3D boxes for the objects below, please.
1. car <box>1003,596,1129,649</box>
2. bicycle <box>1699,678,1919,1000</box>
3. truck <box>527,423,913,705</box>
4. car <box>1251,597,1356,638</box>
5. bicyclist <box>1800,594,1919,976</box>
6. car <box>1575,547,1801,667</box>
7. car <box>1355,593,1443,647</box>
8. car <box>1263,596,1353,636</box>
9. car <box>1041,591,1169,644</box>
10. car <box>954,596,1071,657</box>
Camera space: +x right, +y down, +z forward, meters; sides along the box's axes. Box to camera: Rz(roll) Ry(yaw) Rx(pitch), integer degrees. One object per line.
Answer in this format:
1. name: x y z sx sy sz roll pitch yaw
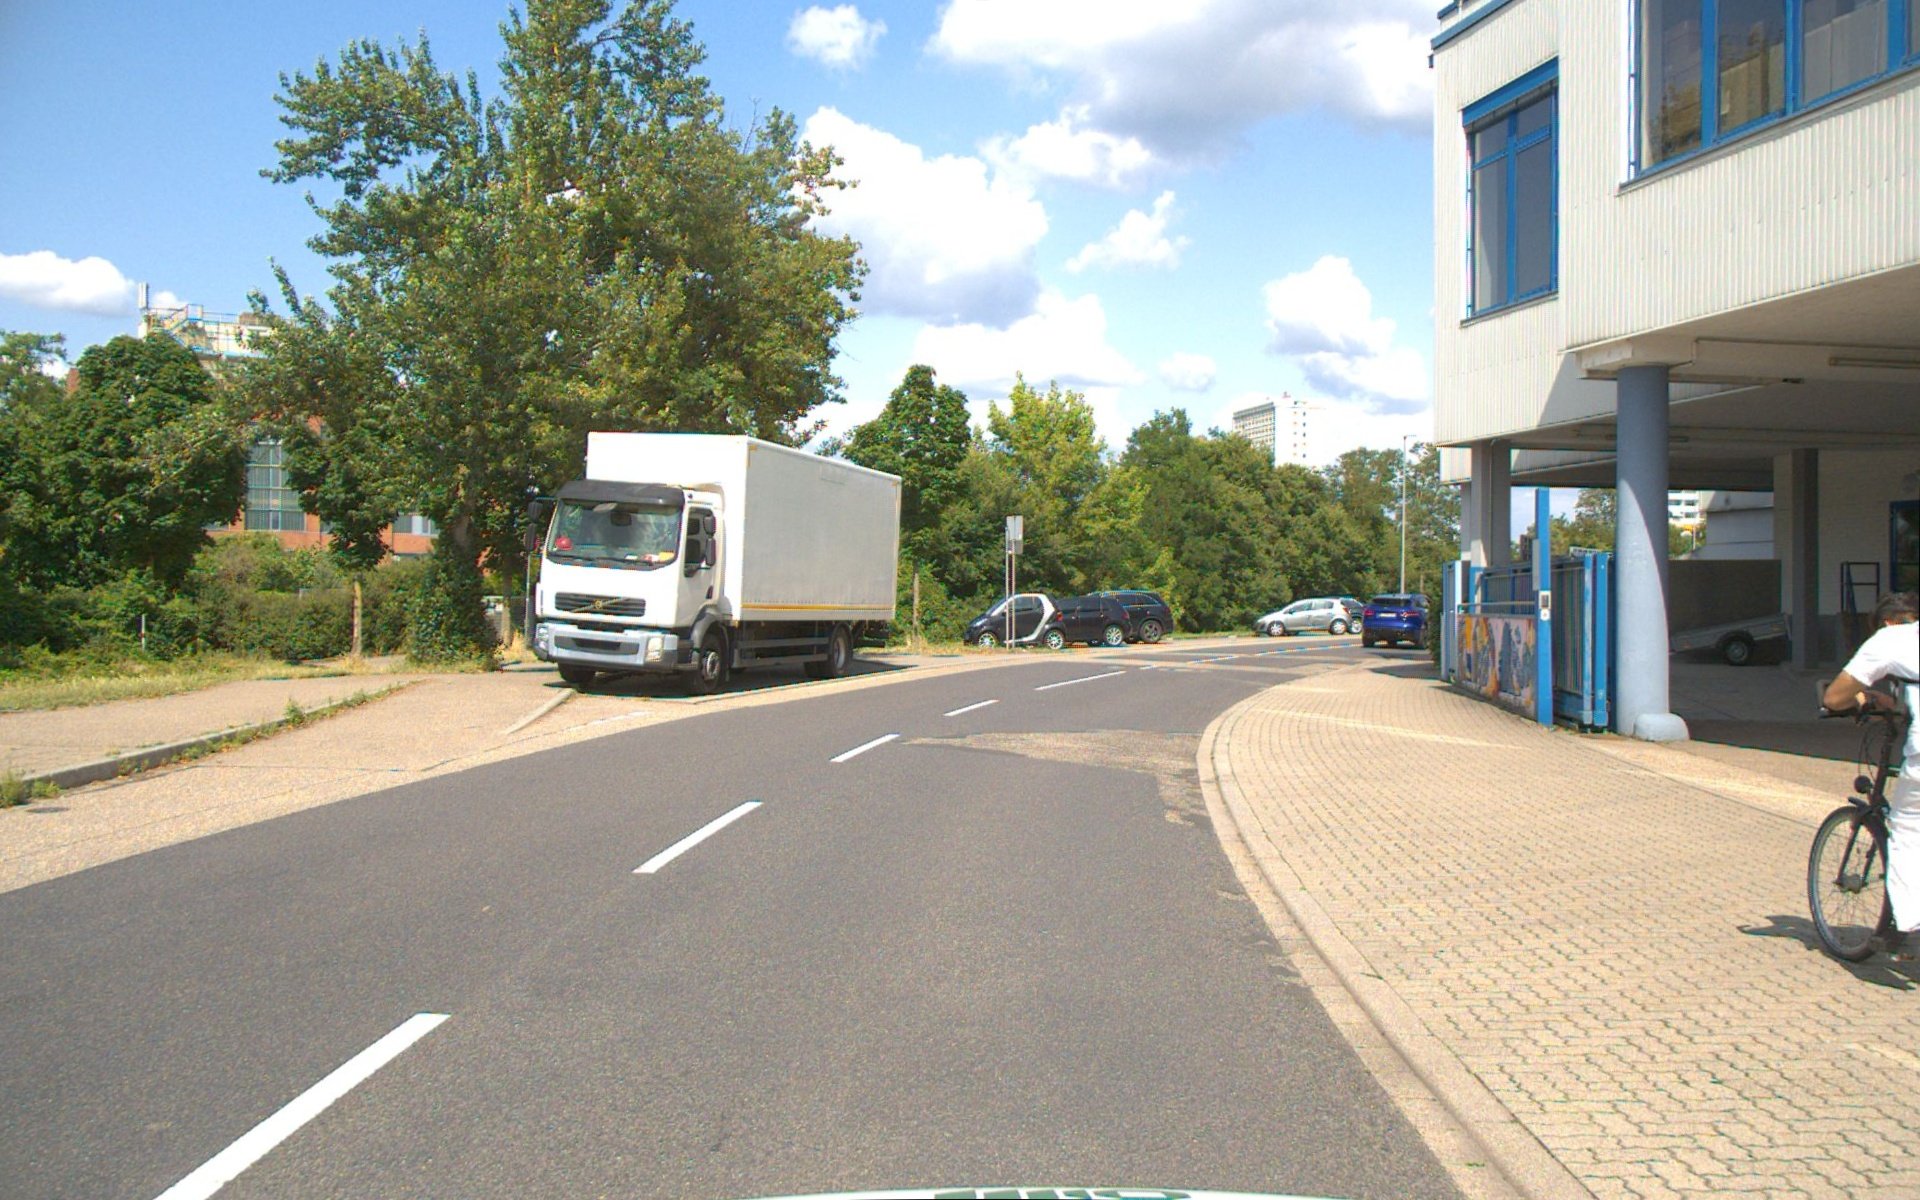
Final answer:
1. car: 3.075 0.649 48.218 3.272 1.501 1.695 0 0 -19
2. bicycle: 3.869 0.927 6.753 0.653 1.128 2.166 0 0 -3
3. truck: -3.309 -0.516 26.147 2.272 3.630 9.373 2 1 16
4. car: 13.785 0.711 66.597 3.960 1.597 1.743 1 -1 5
5. bicyclist: 3.879 0.691 6.548 0.650 1.422 0.858 0 0 -3
6. car: 13.681 0.151 31.308 3.635 2.049 2.001 2 -2 17
7. car: 13.919 0.652 52.267 1.872 1.621 4.697 0 -1 25
8. car: 14.453 0.685 68.801 3.502 1.597 1.743 1 -1 5
9. car: 4.524 0.565 51.670 3.571 1.597 1.880 1 -1 -18
10. car: 1.414 0.727 44.982 2.845 1.597 1.885 1 -1 -10
